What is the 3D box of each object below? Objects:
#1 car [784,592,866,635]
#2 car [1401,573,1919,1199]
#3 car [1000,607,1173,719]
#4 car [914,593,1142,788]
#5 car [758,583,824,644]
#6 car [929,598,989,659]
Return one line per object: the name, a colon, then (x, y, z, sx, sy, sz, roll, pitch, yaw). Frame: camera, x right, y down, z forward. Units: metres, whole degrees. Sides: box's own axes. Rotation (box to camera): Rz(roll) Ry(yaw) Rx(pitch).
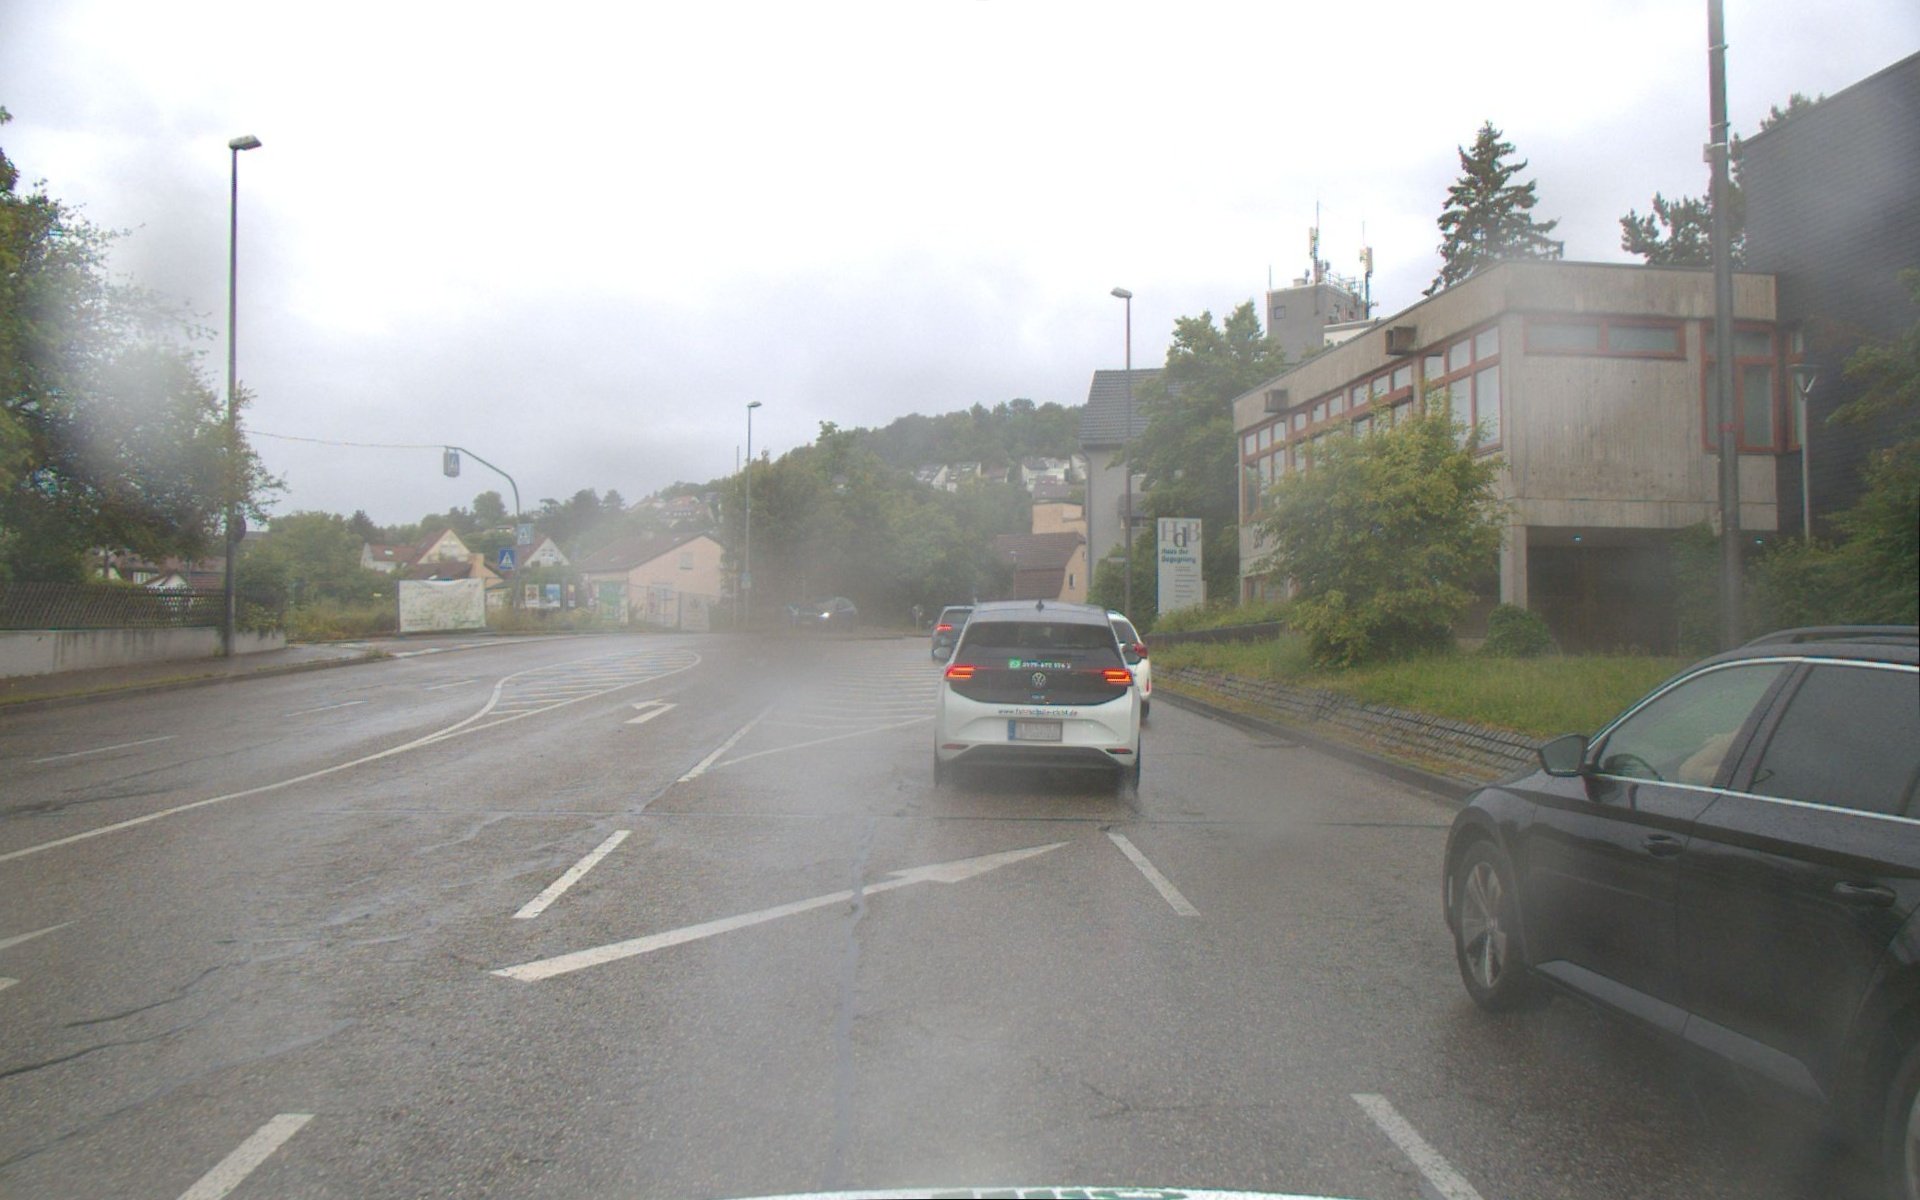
car: (-5.835, 0.609, 72.340, 1.951, 1.723, 4.707, 1, -1, 17)
car: (2.943, 0.766, 4.632, 1.915, 1.534, 4.605, 3, -1, -3)
car: (1.696, 0.851, 23.571, 1.812, 1.434, 4.297, 1, -1, -5)
car: (0.597, 0.752, 15.181, 1.791, 1.526, 4.169, 1, -1, 2)
car: (-6.026, 0.512, 59.405, 1.953, 2.049, 3.999, 1, -1, 0)
car: (-0.064, 0.732, 44.228, 1.535, 1.557, 3.999, 0, 0, -1)
